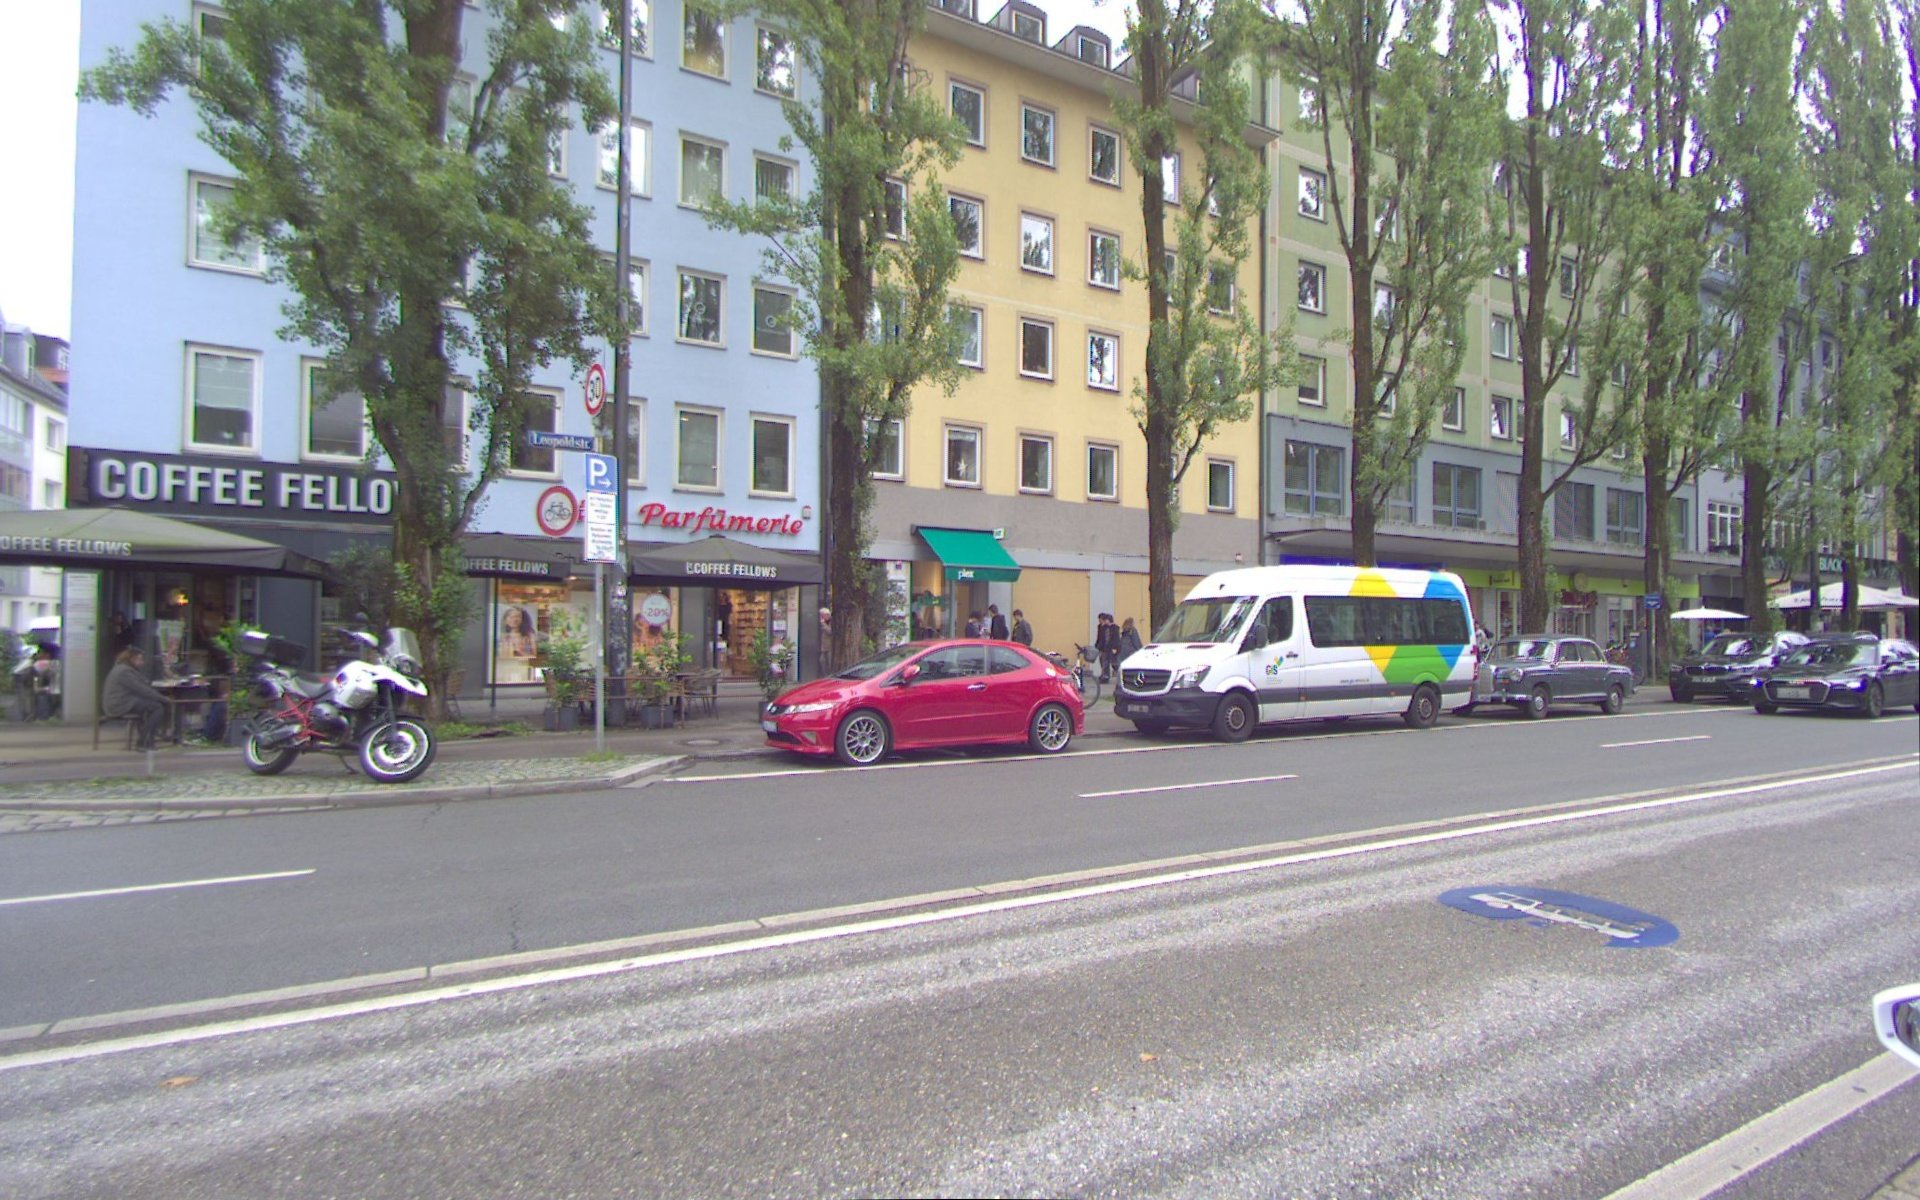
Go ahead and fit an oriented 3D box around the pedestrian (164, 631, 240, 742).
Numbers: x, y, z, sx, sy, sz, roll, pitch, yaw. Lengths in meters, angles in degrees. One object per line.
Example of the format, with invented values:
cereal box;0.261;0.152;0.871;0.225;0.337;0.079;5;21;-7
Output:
pedestrian;-9.761;1.088;12.957;0.692;1.380;0.709;1;-2;-32

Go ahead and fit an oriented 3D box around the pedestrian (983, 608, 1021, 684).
pedestrian;1.031;1.126;24.774;0.717;1.818;0.695;1;-2;-25

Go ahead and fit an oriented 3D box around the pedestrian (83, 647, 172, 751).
pedestrian;-10.082;1.175;12.193;0.692;1.198;0.811;1;-2;-31

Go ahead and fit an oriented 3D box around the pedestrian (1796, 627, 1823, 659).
pedestrian;39.101;1.955;46.239;0.792;1.428;0.760;2;0;-35

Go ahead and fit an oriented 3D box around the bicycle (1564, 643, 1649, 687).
bicycle;18.812;1.865;29.278;0.712;1.110;1.933;1;1;-36

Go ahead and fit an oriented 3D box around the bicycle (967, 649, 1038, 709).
bicycle;0.770;1.453;18.870;0.416;1.040;1.764;1;-2;-32

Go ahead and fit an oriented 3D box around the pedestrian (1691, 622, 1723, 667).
pedestrian;28.820;1.733;38.753;0.667;1.708;0.753;2;-2;-29

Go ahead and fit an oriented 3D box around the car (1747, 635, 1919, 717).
car;17.909;1.464;20.192;4.657;1.481;1.690;1;-3;-30

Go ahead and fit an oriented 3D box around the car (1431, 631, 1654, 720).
car;11.479;1.431;19.741;4.362;1.572;1.858;1;-3;-30

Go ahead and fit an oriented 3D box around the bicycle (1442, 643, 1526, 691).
bicycle;13.525;1.709;25.980;0.710;1.110;1.862;1;1;-27

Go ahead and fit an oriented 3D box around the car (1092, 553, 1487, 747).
car;5.449;0.781;16.137;6.831;2.601;1.996;1;-3;-31

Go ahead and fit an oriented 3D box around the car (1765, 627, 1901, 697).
car;23.185;1.617;26.655;3.880;1.743;1.700;1;-3;-33

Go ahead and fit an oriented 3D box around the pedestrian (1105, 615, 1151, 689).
pedestrian;3.946;1.214;23.566;0.775;1.708;0.753;1;-2;-27

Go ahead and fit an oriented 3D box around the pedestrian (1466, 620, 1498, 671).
pedestrian;18.074;1.575;34.762;0.749;1.708;0.670;2;-2;-29

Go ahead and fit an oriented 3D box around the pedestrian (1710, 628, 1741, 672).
pedestrian;30.070;1.969;39.444;0.667;1.708;0.753;2;-2;-29

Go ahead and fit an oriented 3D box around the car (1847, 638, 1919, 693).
car;28.041;1.883;29.424;4.299;1.508;1.790;1;-3;-30

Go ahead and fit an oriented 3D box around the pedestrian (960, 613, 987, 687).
pedestrian;0.308;1.143;23.092;0.553;1.657;0.699;0;-2;-6

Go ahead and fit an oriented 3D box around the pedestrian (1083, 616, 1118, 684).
pedestrian;3.626;1.292;25.962;0.713;1.722;0.699;0;-2;-9

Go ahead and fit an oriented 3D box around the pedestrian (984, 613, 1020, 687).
pedestrian;0.941;1.127;22.709;0.713;1.657;0.699;0;-2;-6

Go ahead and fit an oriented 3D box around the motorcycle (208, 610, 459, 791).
motorcycle;-6.032;0.907;9.671;2.301;1.584;0.715;1;-1;18

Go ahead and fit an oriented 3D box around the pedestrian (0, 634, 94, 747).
pedestrian;-11.677;1.125;12.787;0.808;1.380;0.695;1;-2;-27

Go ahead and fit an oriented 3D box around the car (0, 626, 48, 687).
car;-30.518;1.762;31.314;2.093;1.789;4.551;1;-3;-30

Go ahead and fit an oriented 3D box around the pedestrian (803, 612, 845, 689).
pedestrian;-2.997;1.098;22.165;0.718;1.657;0.695;1;-2;-28

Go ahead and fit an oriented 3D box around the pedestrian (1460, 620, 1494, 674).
pedestrian;16.588;1.514;32.235;0.667;1.708;0.753;2;-2;-29

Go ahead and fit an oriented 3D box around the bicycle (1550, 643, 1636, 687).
bicycle;18.135;1.849;28.806;0.712;1.110;1.933;1;1;-36

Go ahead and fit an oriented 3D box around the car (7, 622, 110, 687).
car;-35.322;2.131;39.501;1.959;2.396;4.554;1;-3;-29

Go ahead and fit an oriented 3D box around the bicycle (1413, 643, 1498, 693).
bicycle;12.465;1.687;25.319;0.710;1.110;1.862;1;1;-27

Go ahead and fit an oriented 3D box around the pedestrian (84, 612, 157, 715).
pedestrian;-14.992;1.115;17.944;0.933;1.796;0.699;-1;-2;30

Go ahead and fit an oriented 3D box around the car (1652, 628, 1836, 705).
car;18.563;1.529;23.745;4.557;1.686;1.858;1;-3;-30

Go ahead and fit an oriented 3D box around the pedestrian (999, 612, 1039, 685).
pedestrian;1.420;1.168;24.135;0.717;1.722;0.695;1;-2;-25

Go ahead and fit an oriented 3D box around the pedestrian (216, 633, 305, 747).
pedestrian;-8.800;1.107;12.668;0.838;1.380;0.694;1;-2;-31

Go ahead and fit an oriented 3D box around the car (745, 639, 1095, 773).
car;-0.459;1.229;12.672;4.100;1.438;1.729;1;-3;-30

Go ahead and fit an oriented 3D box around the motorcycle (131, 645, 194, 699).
motorcycle;-19.820;1.759;25.018;0.729;1.219;2.748;-1;-1;-28

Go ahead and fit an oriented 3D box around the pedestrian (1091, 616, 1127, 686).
pedestrian;3.735;1.276;25.214;0.713;1.722;0.699;0;-2;-9
